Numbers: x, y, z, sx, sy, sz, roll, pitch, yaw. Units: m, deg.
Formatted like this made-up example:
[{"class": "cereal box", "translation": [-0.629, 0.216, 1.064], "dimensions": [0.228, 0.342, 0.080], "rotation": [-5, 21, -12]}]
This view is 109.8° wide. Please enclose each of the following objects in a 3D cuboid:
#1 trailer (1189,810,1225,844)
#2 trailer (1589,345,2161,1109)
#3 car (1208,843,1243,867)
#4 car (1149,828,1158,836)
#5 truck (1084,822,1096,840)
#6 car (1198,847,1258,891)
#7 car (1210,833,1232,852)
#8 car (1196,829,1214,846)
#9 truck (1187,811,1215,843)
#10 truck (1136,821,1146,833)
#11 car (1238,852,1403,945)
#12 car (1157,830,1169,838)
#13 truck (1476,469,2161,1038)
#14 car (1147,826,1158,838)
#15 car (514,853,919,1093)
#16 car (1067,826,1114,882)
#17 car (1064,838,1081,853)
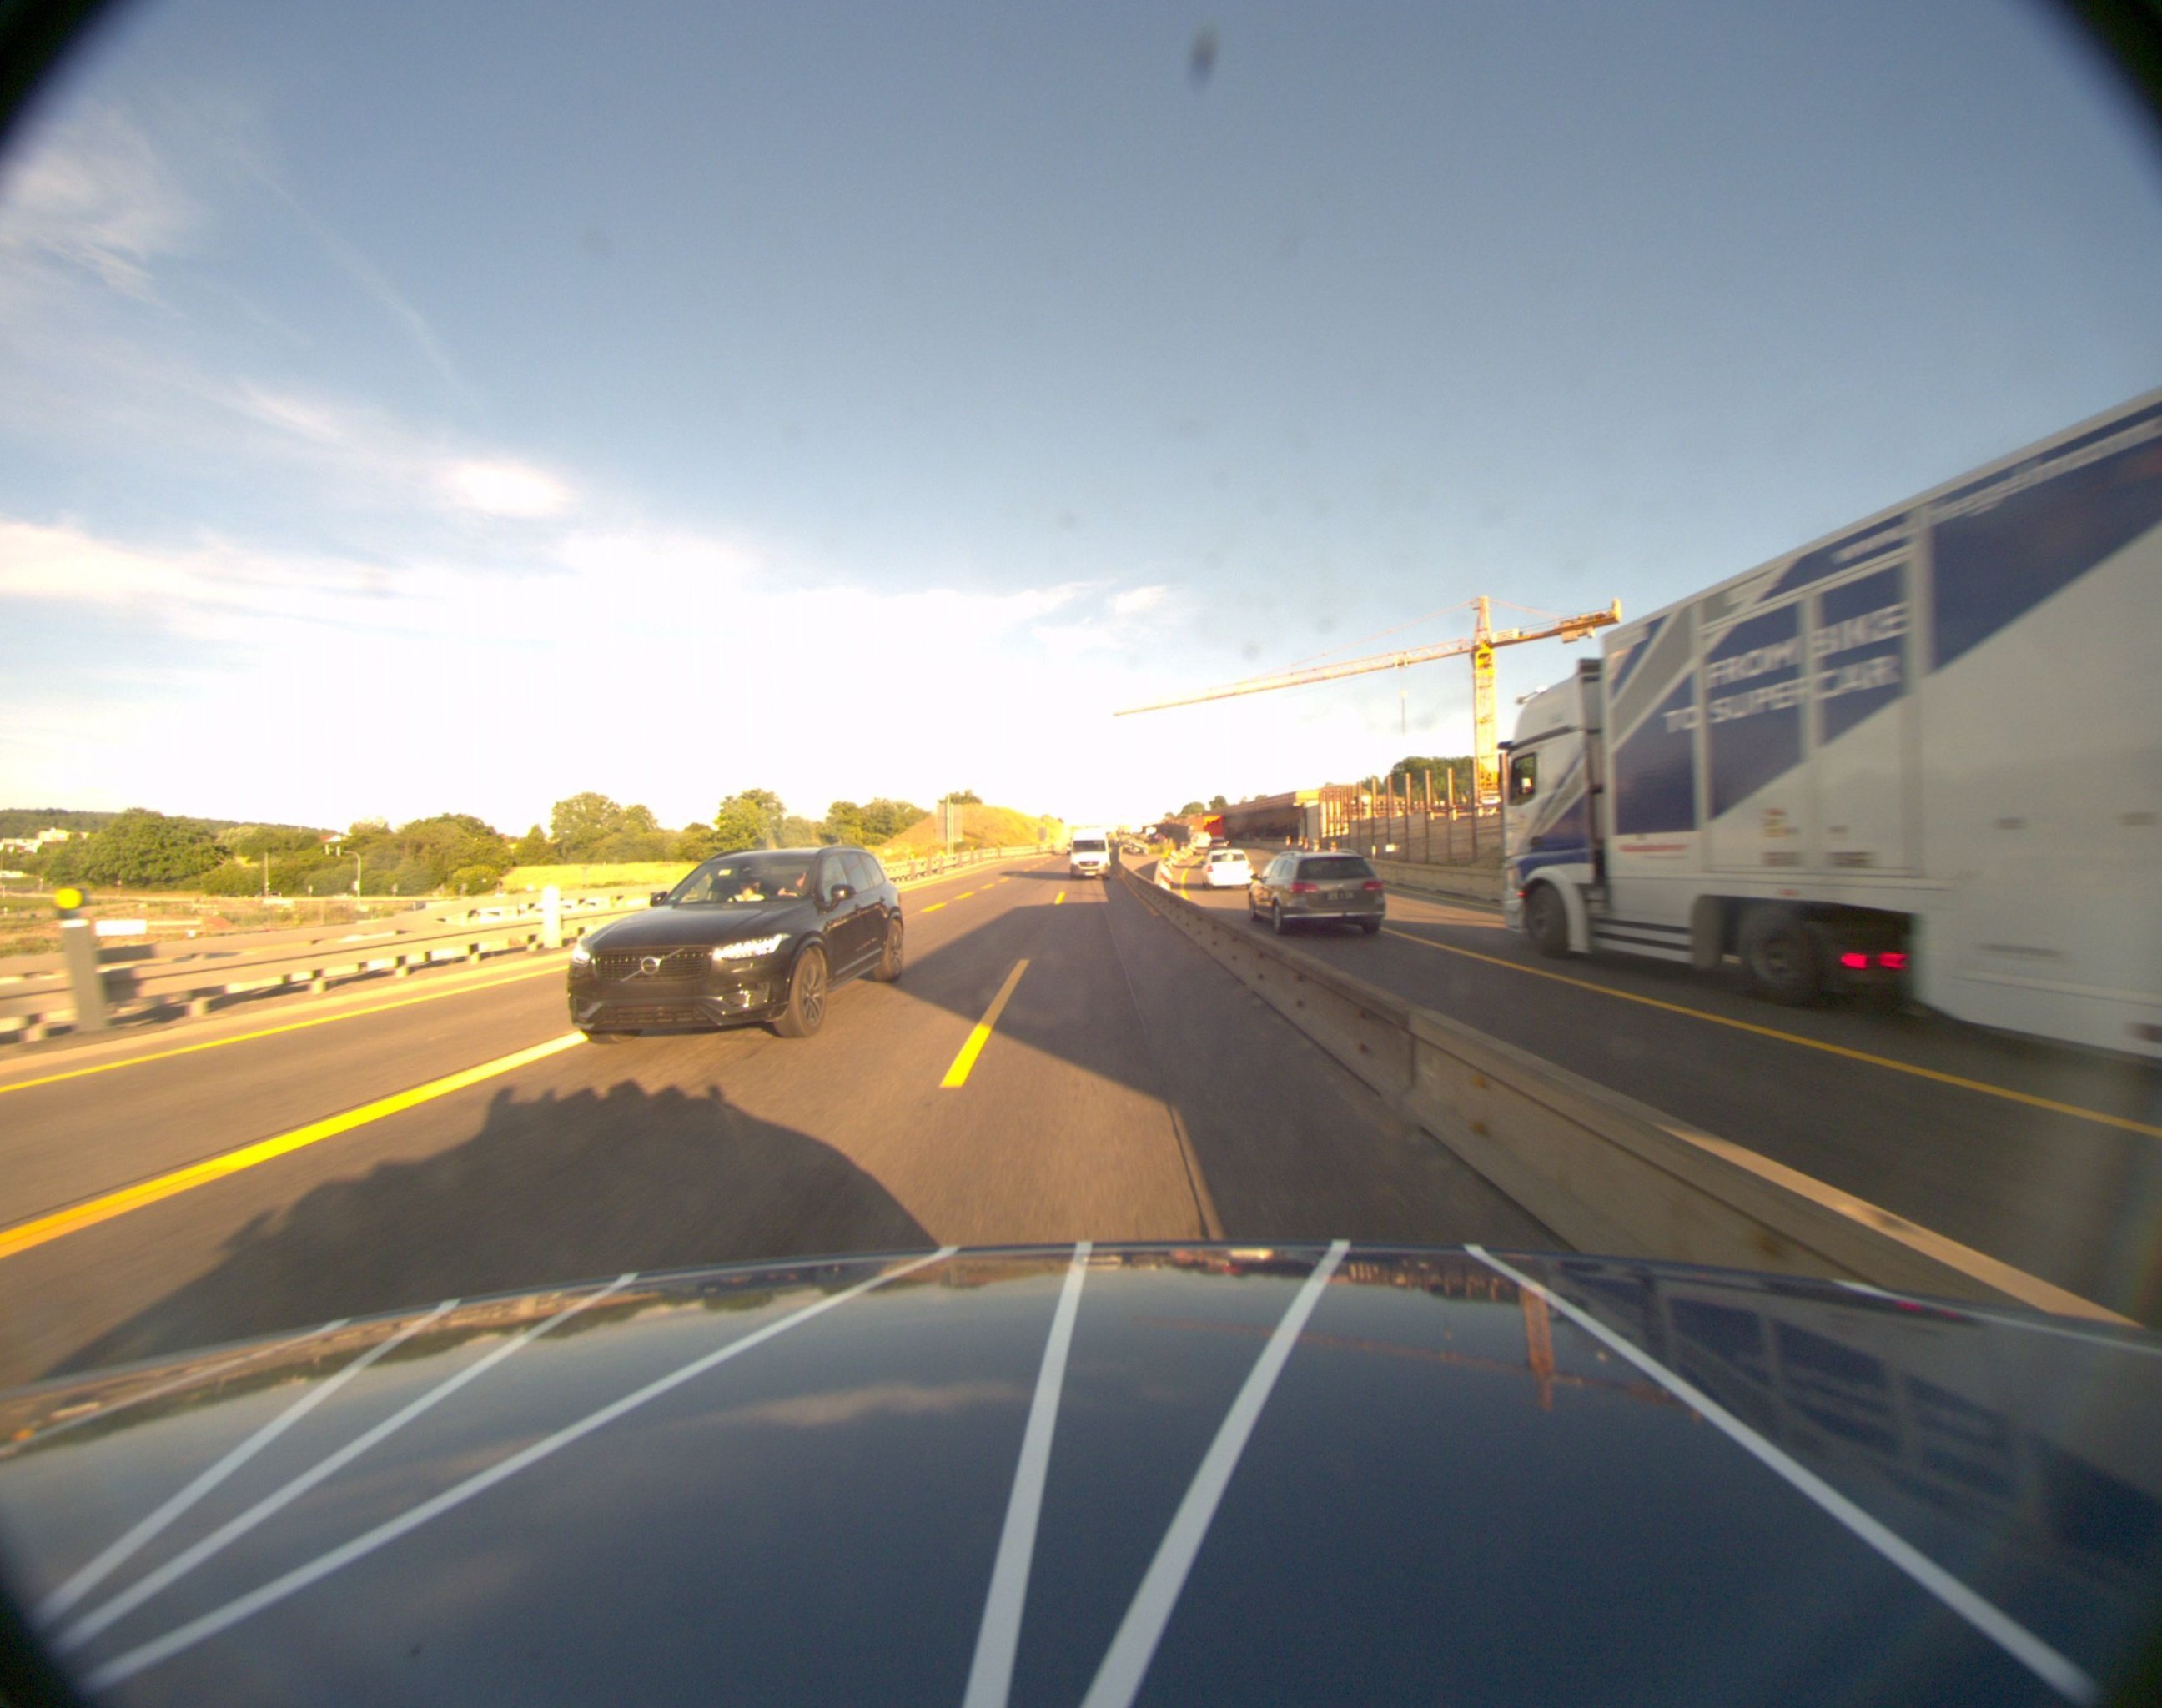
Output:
[{"class": "trailer", "translation": [18.061, -3.931, 109.621], "dimensions": [2.590, 4.446, 14.130], "rotation": [-3, 2, 0]}, {"class": "trailer", "translation": [7.139, -0.700, 2.058], "dimensions": [2.537, 4.189, 13.934], "rotation": [-3, 1, 2]}, {"class": "car", "translation": [9.175, 0.020, 48.594], "dimensions": [1.792, 1.350, 4.636], "rotation": [-3, 1, 6]}, {"class": "car", "translation": [15.901, -4.835, 166.865], "dimensions": [1.665, 1.383, 3.999], "rotation": [-6, 2, 3]}, {"class": "truck", "translation": [1.902, -4.927, 163.767], "dimensions": [2.264, 3.705, 6.571], "rotation": [-5, 1, -1]}, {"class": "car", "translation": [5.494, 0.505, 28.863], "dimensions": [1.792, 1.480, 4.220], "rotation": [-1, 1, 5]}, {"class": "car", "translation": [13.196, -1.089, 71.831], "dimensions": [1.792, 1.610, 4.875], "rotation": [-3, 1, 8]}, {"class": "car", "translation": [15.296, -2.071, 93.563], "dimensions": [1.997, 2.002, 5.259], "rotation": [-2, 2, 10]}, {"class": "truck", "translation": [18.078, -4.086, 114.879], "dimensions": [2.590, 4.446, 8.328], "rotation": [-3, 2, 0]}, {"class": "truck", "translation": [19.524, -8.944, 248.040], "dimensions": [2.796, 3.705, 7.160], "rotation": [-2, 2, 0]}, {"class": "car", "translation": [4.372, 0.727, 14.641], "dimensions": [1.854, 1.474, 4.511], "rotation": [-1, 0, 2]}, {"class": "car", "translation": [16.067, -3.915, 148.971], "dimensions": [1.734, 1.592, 4.659], "rotation": [-2, 2, 1]}, {"class": "truck", "translation": [7.411, -0.780, 8.786], "dimensions": [2.559, 4.197, 6.050], "rotation": [-3, 1, 2]}, {"class": "car", "translation": [19.014, -5.882, 202.314], "dimensions": [2.334, 2.951, 6.159], "rotation": [-2, 2, -1]}, {"class": "car", "translation": [-3.297, 0.912, 8.243], "dimensions": [1.902, 1.703, 4.887], "rotation": [-2, 1, 1]}, {"class": "car", "translation": [0.496, -0.076, 38.056], "dimensions": [2.109, 2.519, 5.218], "rotation": [-2, 2, 1]}, {"class": "car", "translation": [-0.916, -0.963, 85.931], "dimensions": [1.791, 1.478, 3.998], "rotation": [-2, 2, 0]}]
